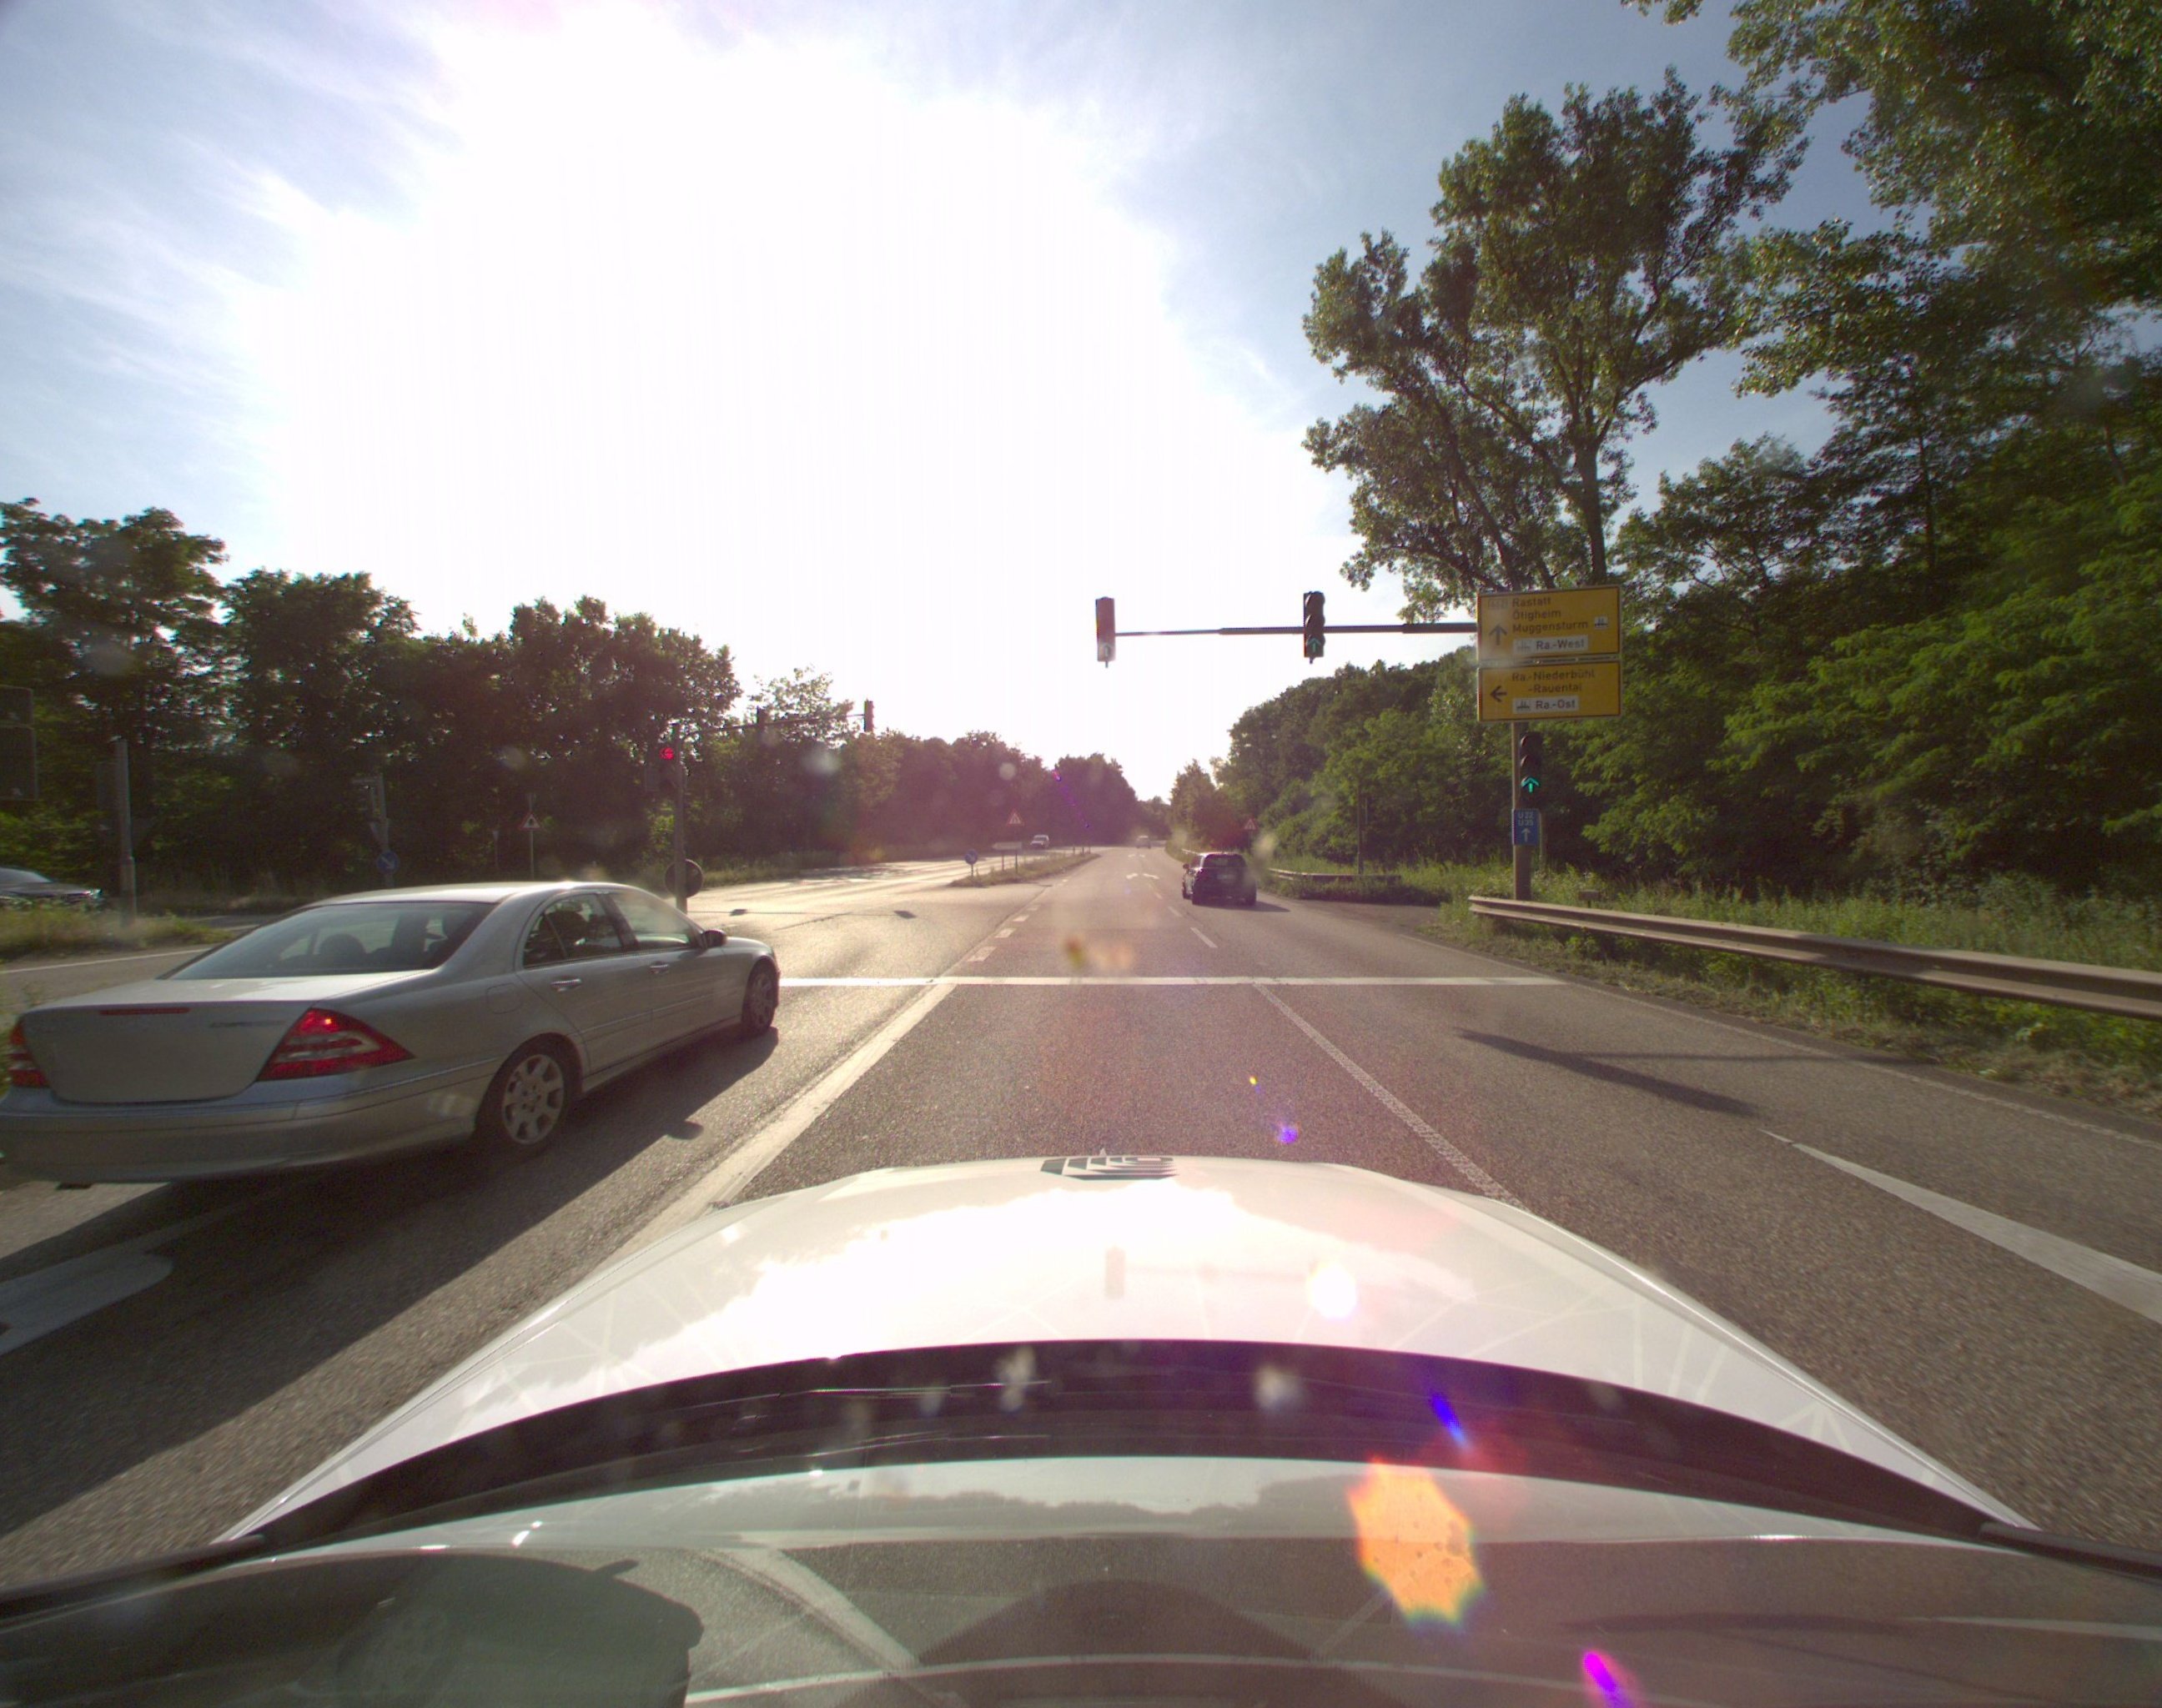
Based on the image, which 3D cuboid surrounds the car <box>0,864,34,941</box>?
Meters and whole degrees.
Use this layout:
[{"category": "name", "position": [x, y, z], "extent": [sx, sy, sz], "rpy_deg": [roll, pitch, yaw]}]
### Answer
[{"category": "car", "position": [-23.207, 0.929, 15.649], "extent": [4.379, 1.490, 2.006], "rpy_deg": [1, 0, 11]}]

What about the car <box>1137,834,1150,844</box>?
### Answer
[{"category": "car", "position": [8.663, -2.058, 112.461], "extent": [1.752, 1.380, 3.978], "rpy_deg": [0, 0, 6]}]

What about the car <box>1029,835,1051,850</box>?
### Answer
[{"category": "car", "position": [-5.132, -1.373, 101.870], "extent": [1.840, 1.786, 4.681], "rpy_deg": [1, 0, 8]}]

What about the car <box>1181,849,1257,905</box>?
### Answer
[{"category": "car", "position": [3.932, 0.604, 23.723], "extent": [1.812, 1.467, 3.877], "rpy_deg": [0, 0, 4]}]

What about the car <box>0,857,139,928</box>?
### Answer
[{"category": "car", "position": [-25.154, 0.842, 18.809], "extent": [4.393, 1.490, 2.000], "rpy_deg": [1, 0, 0]}]

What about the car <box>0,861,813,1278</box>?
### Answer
[{"category": "car", "position": [-3.546, 0.817, 5.372], "extent": [1.728, 1.421, 4.805], "rpy_deg": [-2, 0, 3]}]
